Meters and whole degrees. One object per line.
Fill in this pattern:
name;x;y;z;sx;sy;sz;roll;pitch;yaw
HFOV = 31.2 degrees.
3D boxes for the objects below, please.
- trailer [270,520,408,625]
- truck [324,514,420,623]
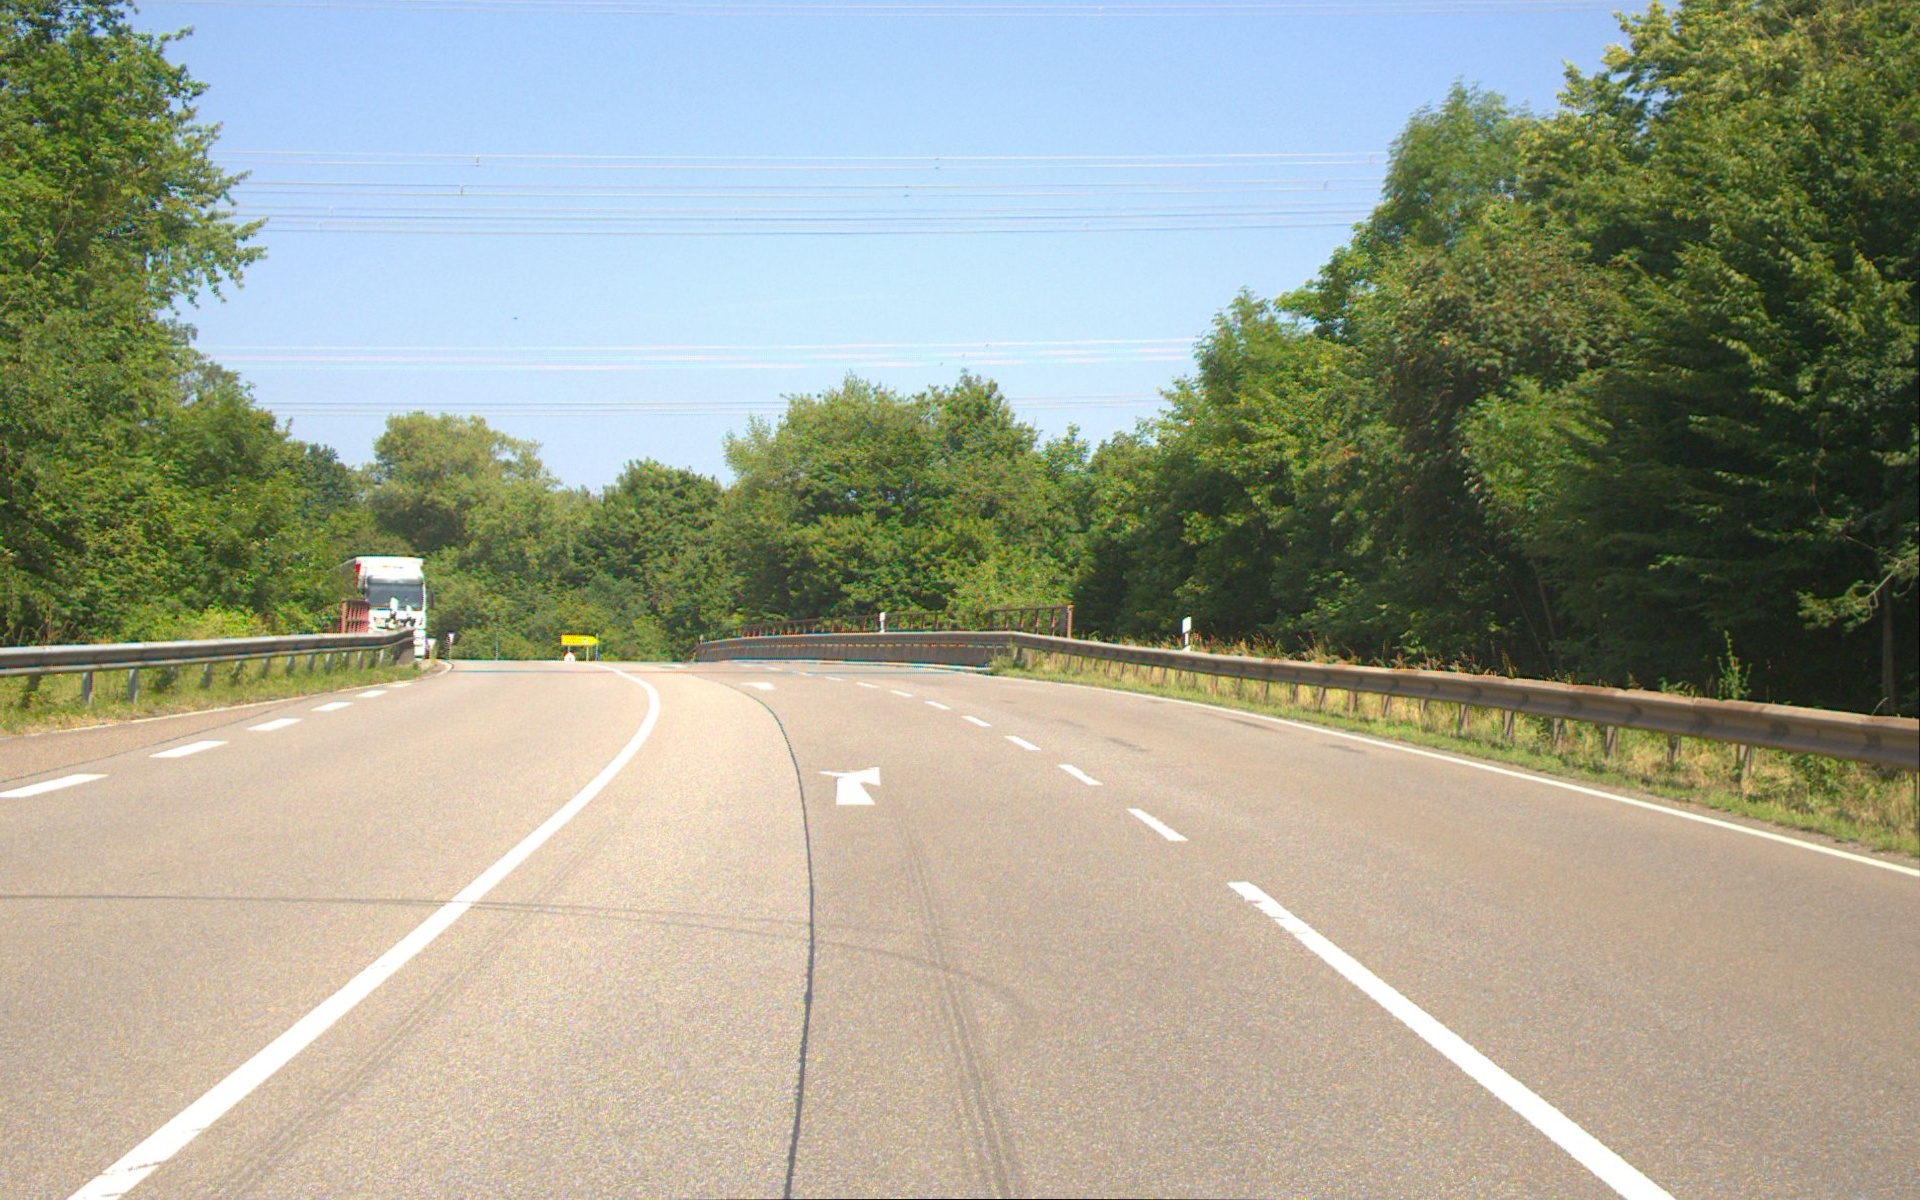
trailer;-25.675;-1.018;141.447;2.767;4.048;14.202;0;-1;-22
truck;-23.044;-1.183;134.581;2.768;4.021;5.856;0;-2;-19
